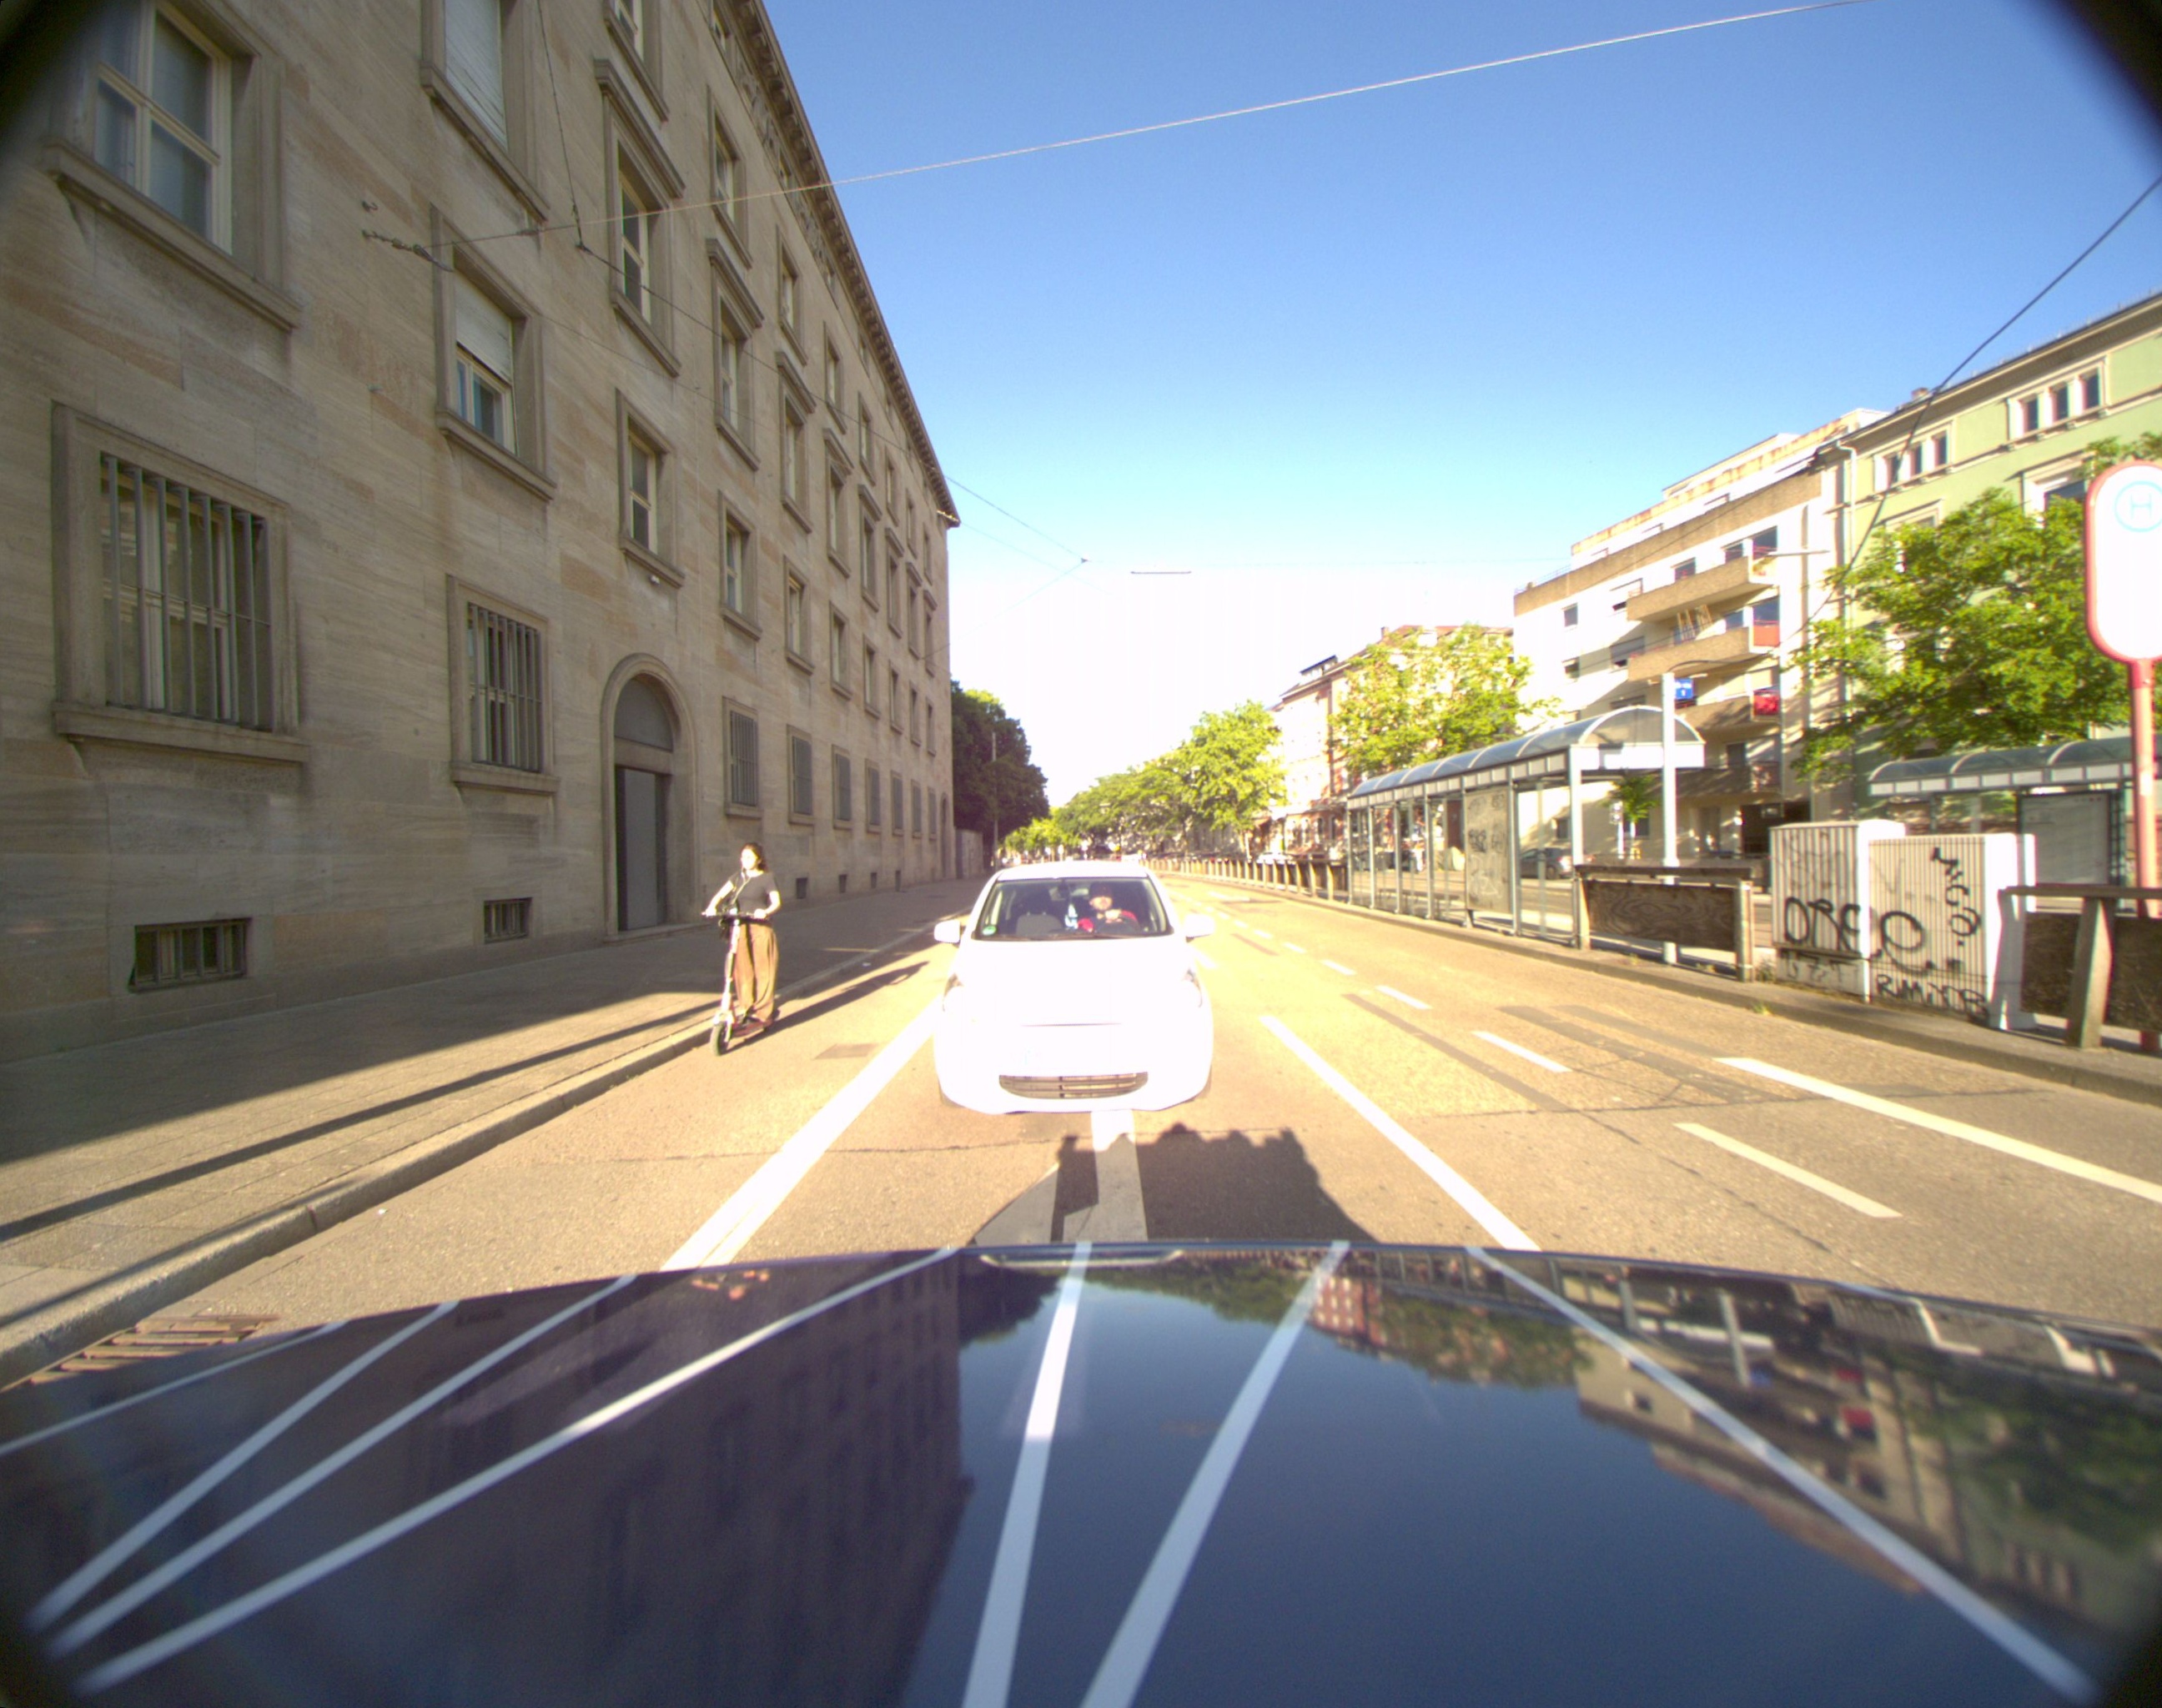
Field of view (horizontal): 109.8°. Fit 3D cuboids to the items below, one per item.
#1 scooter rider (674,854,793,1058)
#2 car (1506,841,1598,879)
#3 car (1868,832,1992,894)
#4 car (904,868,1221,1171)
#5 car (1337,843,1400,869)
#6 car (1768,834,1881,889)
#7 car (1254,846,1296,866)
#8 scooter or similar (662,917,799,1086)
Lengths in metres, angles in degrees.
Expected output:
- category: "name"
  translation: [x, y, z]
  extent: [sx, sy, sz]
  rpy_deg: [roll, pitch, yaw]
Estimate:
- category: "scooter rider"
  translation: [-2.958, 0.842, 6.523]
  extent: [0.731, 1.661, 0.556]
  rpy_deg: [-1, 1, -1]
- category: "car"
  translation: [20.917, 0.229, 33.924]
  extent: [1.631, 1.558, 3.598]
  rpy_deg: [-2, 1, -5]
- category: "car"
  translation: [24.465, 0.229, 21.882]
  extent: [3.605, 1.558, 1.627]
  rpy_deg: [-3, 1, -29]
- category: "car"
  translation: [-0.071, 0.906, 5.800]
  extent: [1.612, 1.462, 3.631]
  rpy_deg: [-2, 0, 1]
- category: "car"
  translation: [19.545, 0.121, 51.714]
  extent: [3.599, 1.558, 1.630]
  rpy_deg: [-2, 1, -7]
- category: "car"
  translation: [23.886, 0.223, 24.394]
  extent: [3.605, 1.558, 1.627]
  rpy_deg: [-3, 1, -29]
- category: "car"
  translation: [16.260, 0.151, 63.468]
  extent: [3.607, 1.558, 1.627]
  rpy_deg: [-3, 1, -42]
- category: "scooter or similar"
  translation: [-2.938, 1.189, 6.508]
  extent: [0.536, 1.178, 1.328]
  rpy_deg: [-1, 0, 0]
